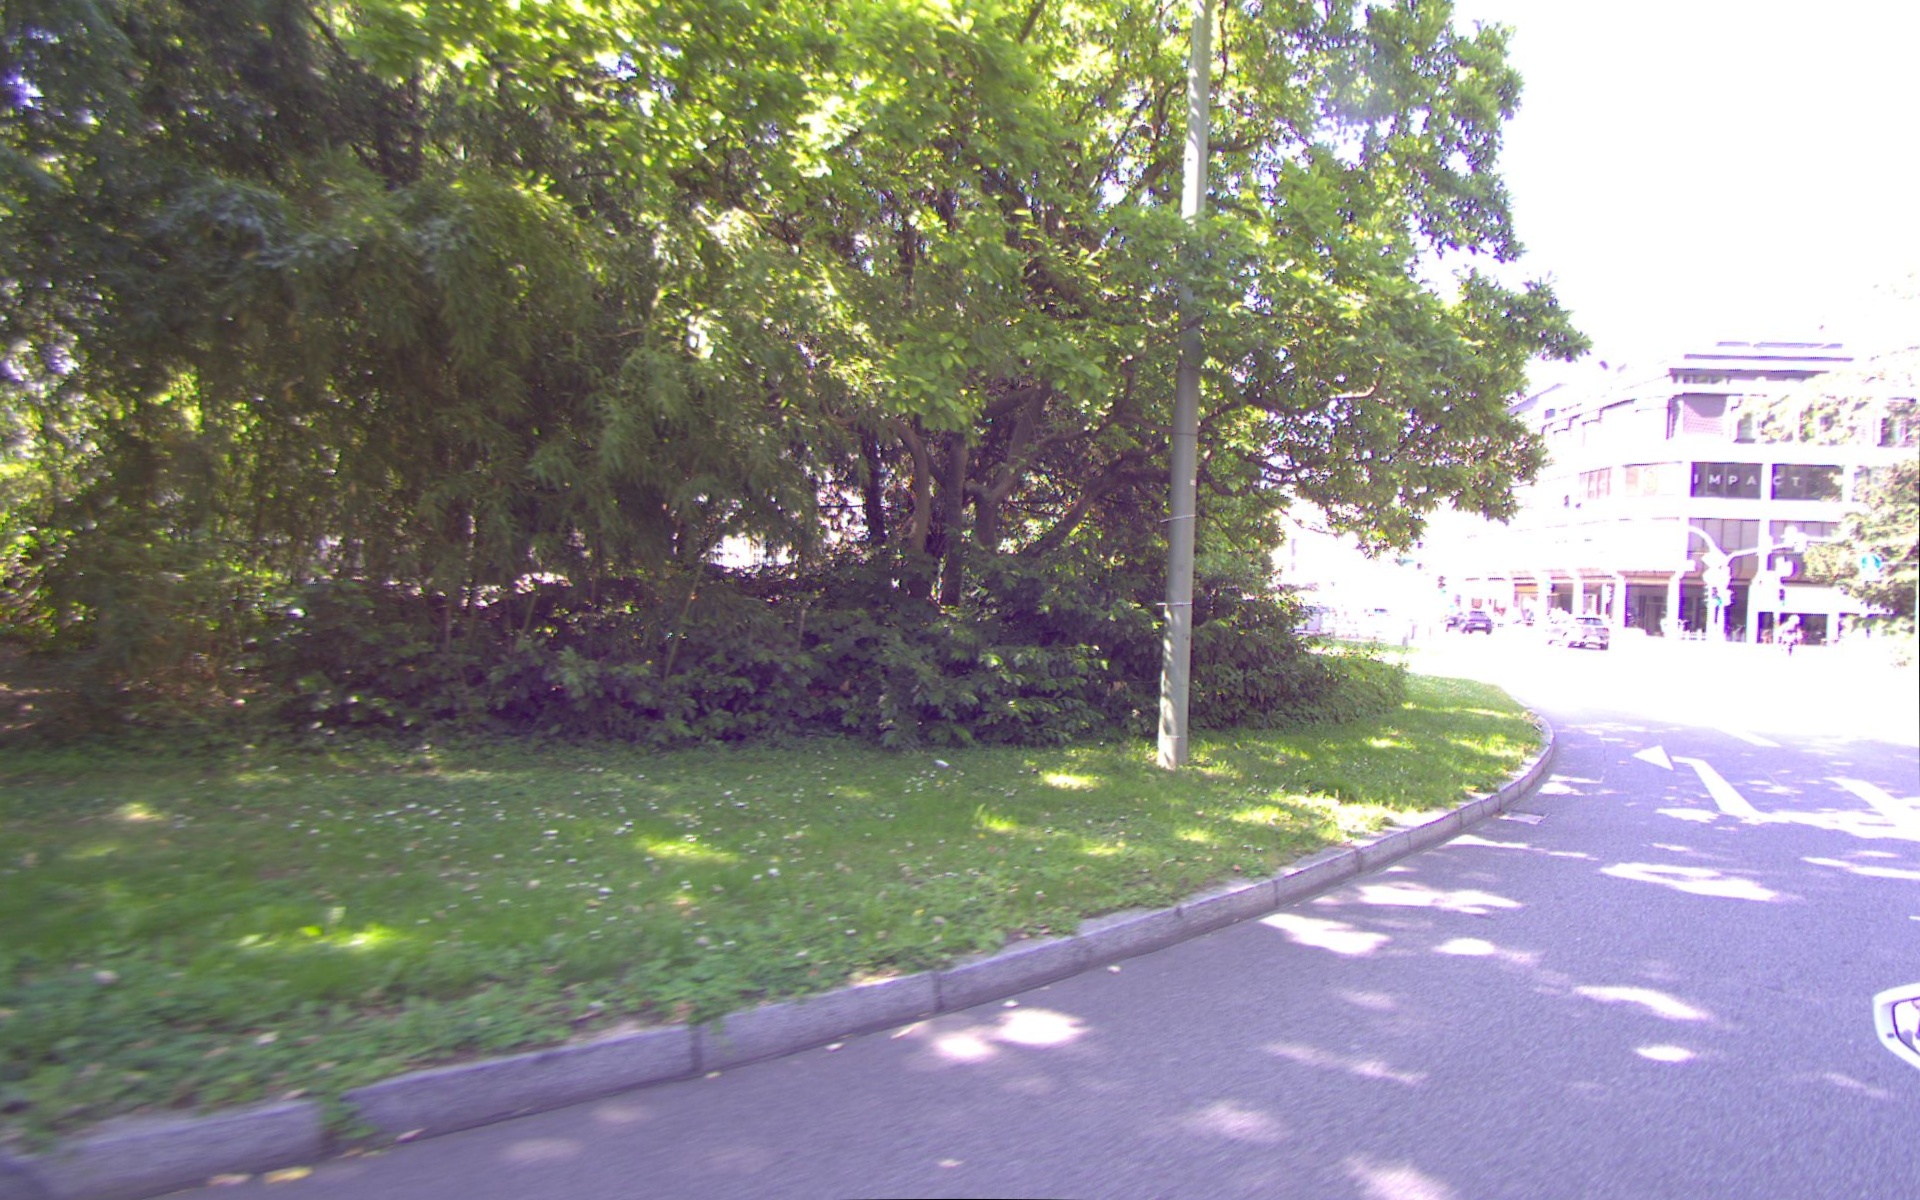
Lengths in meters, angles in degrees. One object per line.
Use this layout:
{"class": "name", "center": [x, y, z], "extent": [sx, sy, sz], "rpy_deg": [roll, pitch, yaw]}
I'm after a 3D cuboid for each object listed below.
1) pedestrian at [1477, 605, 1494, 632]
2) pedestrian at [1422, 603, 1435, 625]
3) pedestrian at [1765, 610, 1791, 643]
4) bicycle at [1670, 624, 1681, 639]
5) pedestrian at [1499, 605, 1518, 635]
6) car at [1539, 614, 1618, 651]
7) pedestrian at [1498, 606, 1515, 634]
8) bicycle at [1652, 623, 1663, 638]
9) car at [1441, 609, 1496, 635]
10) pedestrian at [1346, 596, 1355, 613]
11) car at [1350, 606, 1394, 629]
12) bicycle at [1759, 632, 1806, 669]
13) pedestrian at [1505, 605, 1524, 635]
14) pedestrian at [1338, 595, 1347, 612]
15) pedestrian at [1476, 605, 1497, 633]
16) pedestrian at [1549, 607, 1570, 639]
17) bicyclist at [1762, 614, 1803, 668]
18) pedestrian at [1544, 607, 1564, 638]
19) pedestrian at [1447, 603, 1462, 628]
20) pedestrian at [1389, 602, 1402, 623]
{"class": "pedestrian", "center": [37.274, 1.300, 71.259], "extent": [0.758, 1.837, 0.830], "rpy_deg": [2, 1, 10]}
{"class": "pedestrian", "center": [39.926, 1.199, 85.656], "extent": [0.758, 1.837, 0.830], "rpy_deg": [2, 1, 9]}
{"class": "pedestrian", "center": [52.663, 1.702, 64.671], "extent": [0.967, 2.040, 0.864], "rpy_deg": [2, 0, 11]}
{"class": "bicycle", "center": [43.128, 1.890, 60.532], "extent": [0.500, 0.913, 1.518], "rpy_deg": [2, 0, 34]}
{"class": "pedestrian", "center": [35.575, 1.290, 65.171], "extent": [0.758, 1.837, 0.830], "rpy_deg": [2, 1, 10]}
{"class": "car", "center": [29.219, 1.512, 47.628], "extent": [1.914, 1.558, 4.084], "rpy_deg": [2, 0, 13]}
{"class": "pedestrian", "center": [36.960, 1.333, 67.936], "extent": [0.758, 1.837, 0.830], "rpy_deg": [2, 1, 10]}
{"class": "bicycle", "center": [42.393, 1.850, 61.030], "extent": [0.500, 0.913, 1.518], "rpy_deg": [2, 0, 34]}
{"class": "car", "center": [31.285, 1.335, 61.899], "extent": [1.795, 1.428, 3.795], "rpy_deg": [2, 0, 8]}
{"class": "pedestrian", "center": [43.005, 0.440, 110.607], "extent": [0.758, 1.837, 0.830], "rpy_deg": [2, 1, 9]}
{"class": "car", "center": [28.395, 1.190, 69.299], "extent": [1.803, 1.428, 3.795], "rpy_deg": [2, 0, 7]}
{"class": "bicycle", "center": [28.833, 1.747, 35.244], "extent": [0.841, 1.176, 2.080], "rpy_deg": [3, 1, 29]}
{"class": "pedestrian", "center": [35.392, 1.287, 64.151], "extent": [0.758, 1.837, 0.830], "rpy_deg": [2, 1, 10]}
{"class": "pedestrian", "center": [42.165, 0.428, 110.712], "extent": [0.758, 1.837, 0.830], "rpy_deg": [2, 1, 9]}
{"class": "pedestrian", "center": [35.415, 1.276, 67.579], "extent": [0.957, 1.837, 0.951], "rpy_deg": [2, 1, 10]}
{"class": "pedestrian", "center": [34.820, 1.337, 58.348], "extent": [0.758, 1.837, 0.830], "rpy_deg": [2, 1, 10]}
{"class": "bicyclist", "center": [28.820, 1.415, 35.208], "extent": [0.846, 1.820, 1.128], "rpy_deg": [3, 2, 29]}
{"class": "pedestrian", "center": [36.595, 1.386, 61.916], "extent": [0.758, 1.837, 0.830], "rpy_deg": [2, 1, 10]}
{"class": "pedestrian", "center": [38.070, 1.182, 77.364], "extent": [0.758, 1.837, 0.830], "rpy_deg": [2, 1, 9]}
{"class": "pedestrian", "center": [39.117, 1.079, 90.222], "extent": [0.758, 1.837, 0.830], "rpy_deg": [2, 1, 9]}
